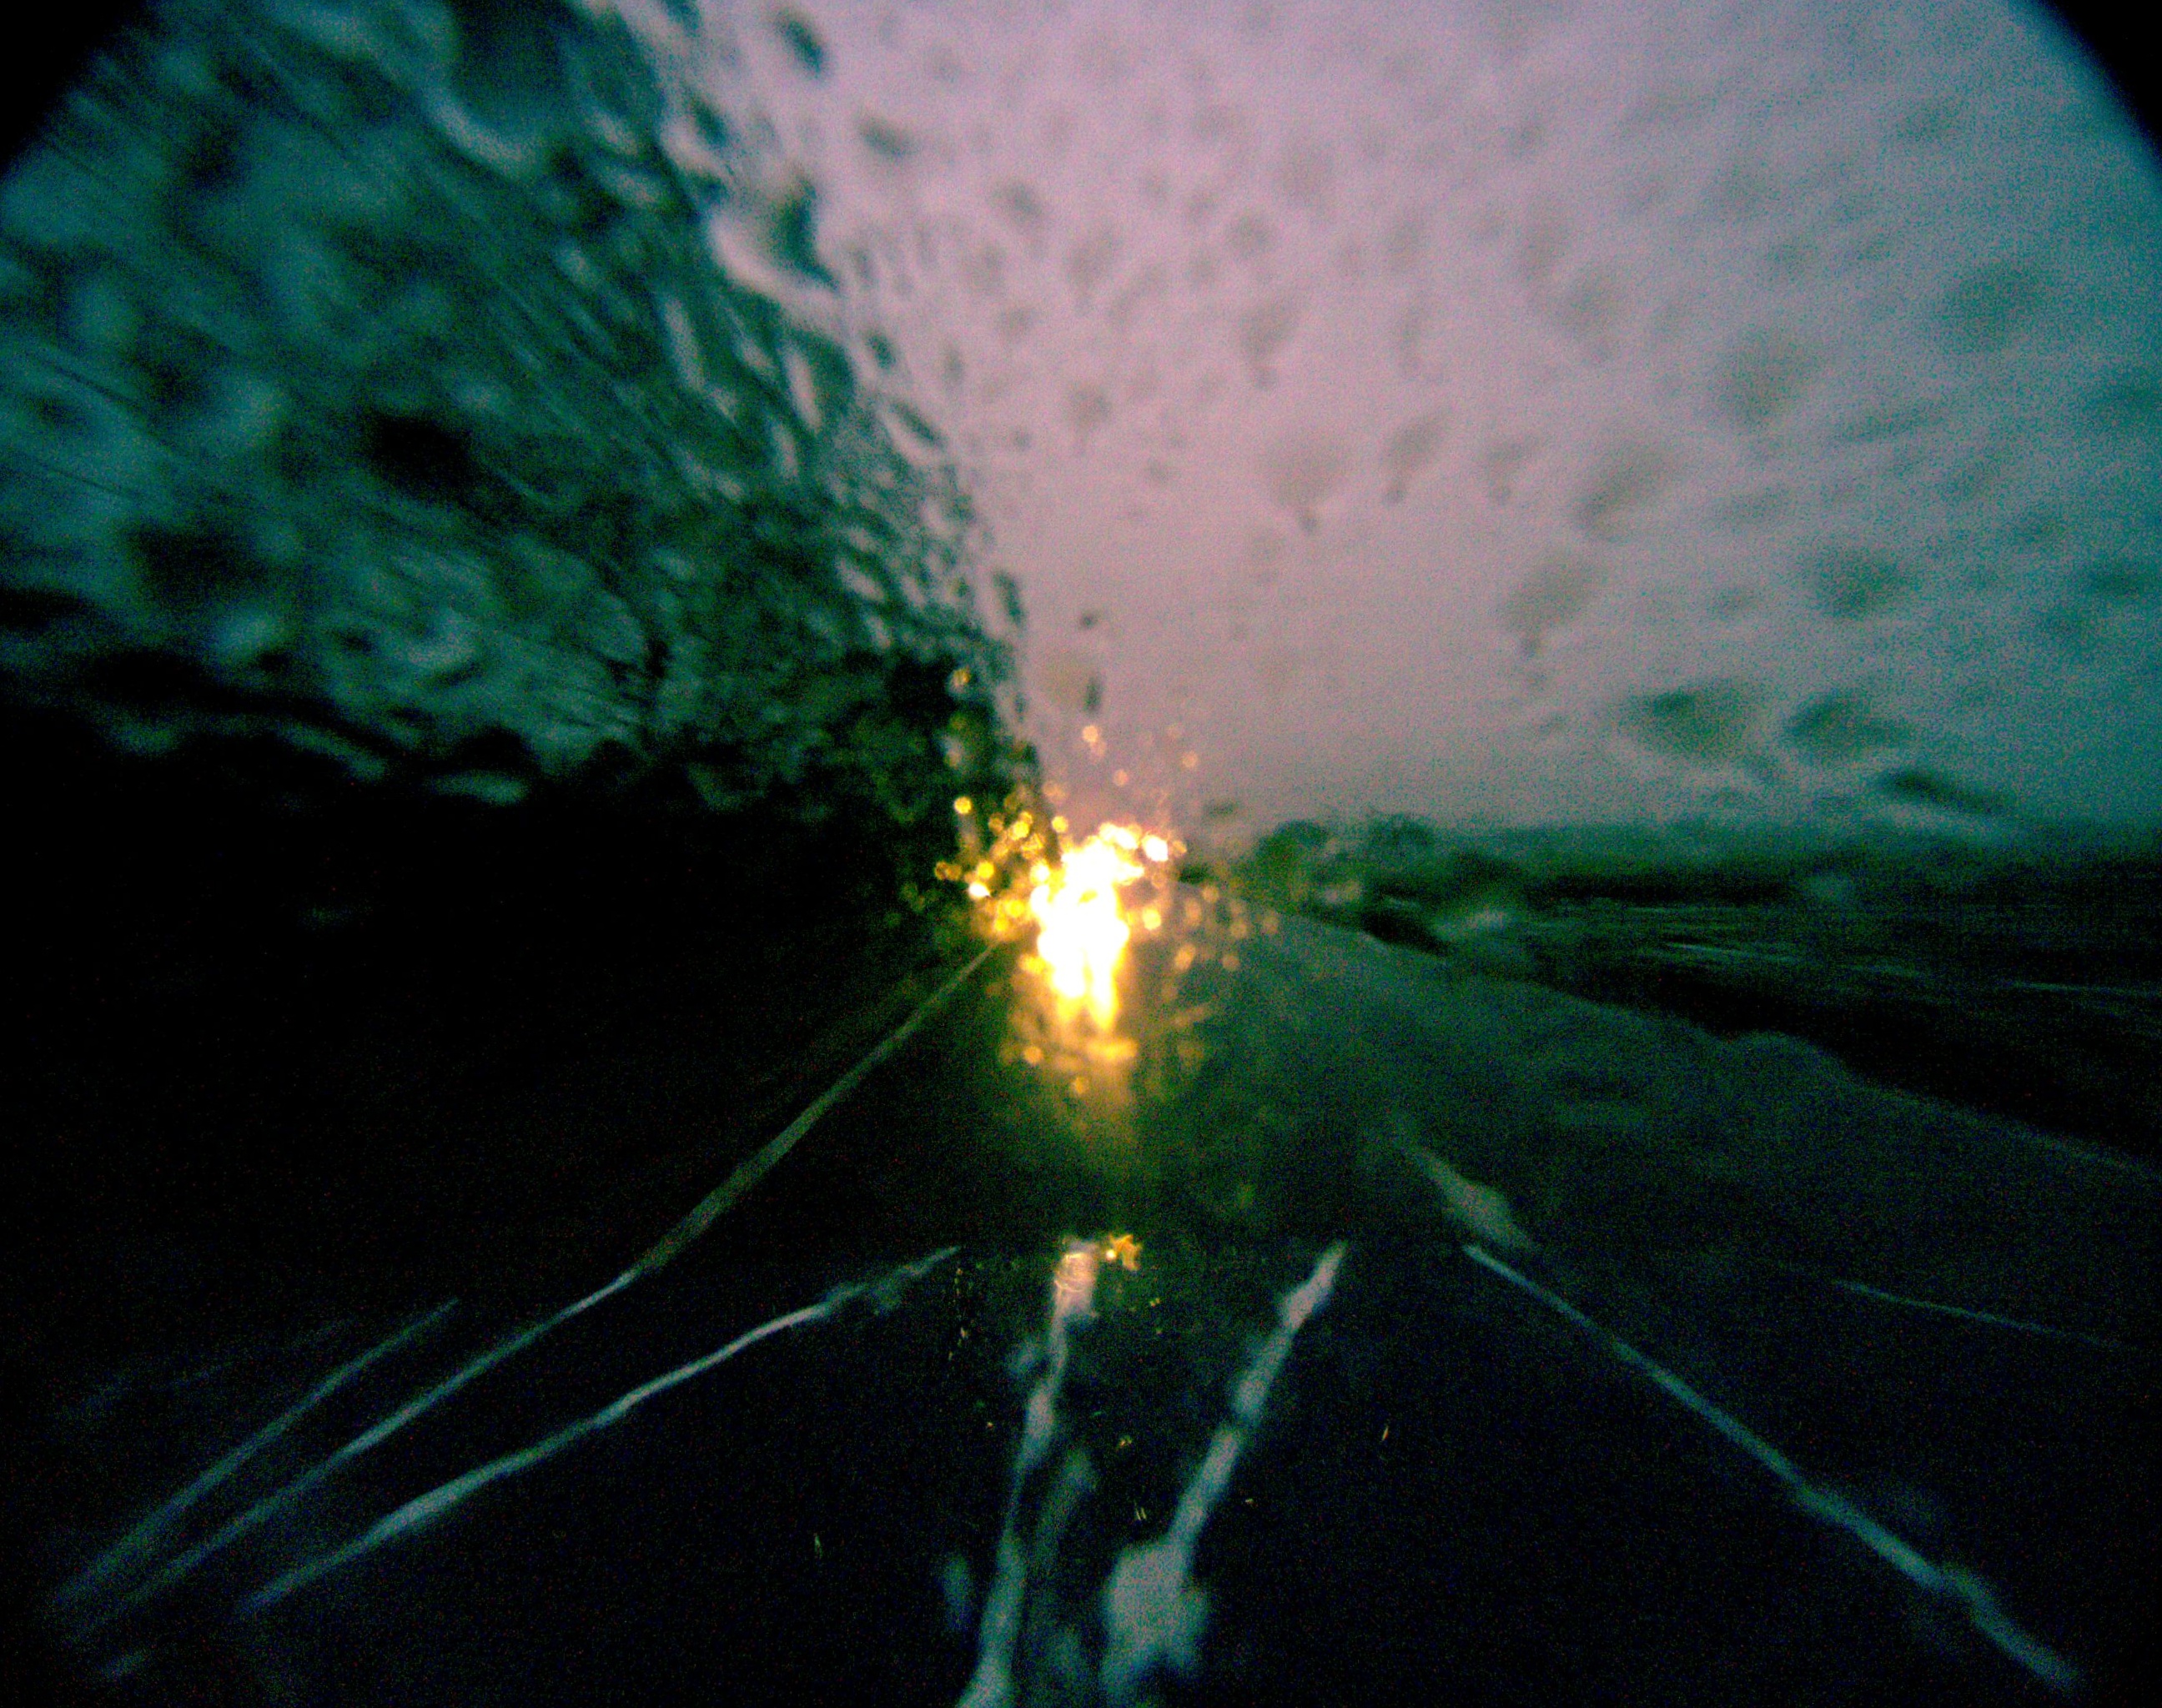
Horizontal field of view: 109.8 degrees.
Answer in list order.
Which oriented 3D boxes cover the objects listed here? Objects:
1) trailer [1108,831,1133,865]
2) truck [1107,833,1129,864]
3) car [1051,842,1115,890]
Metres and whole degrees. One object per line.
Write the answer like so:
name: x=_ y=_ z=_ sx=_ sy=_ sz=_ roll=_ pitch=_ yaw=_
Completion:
trailer: x=5.006 y=-0.724 z=98.762 sx=2.708 sy=4.056 sz=12.381 roll=-1 pitch=0 yaw=1
truck: x=5.126 y=-0.702 z=105.384 sx=2.732 sy=4.081 sz=6.588 roll=-1 pitch=0 yaw=1
car: x=0.186 y=0.497 z=36.138 sx=2.704 sy=1.974 sz=5.804 roll=-3 pitch=0 yaw=2
